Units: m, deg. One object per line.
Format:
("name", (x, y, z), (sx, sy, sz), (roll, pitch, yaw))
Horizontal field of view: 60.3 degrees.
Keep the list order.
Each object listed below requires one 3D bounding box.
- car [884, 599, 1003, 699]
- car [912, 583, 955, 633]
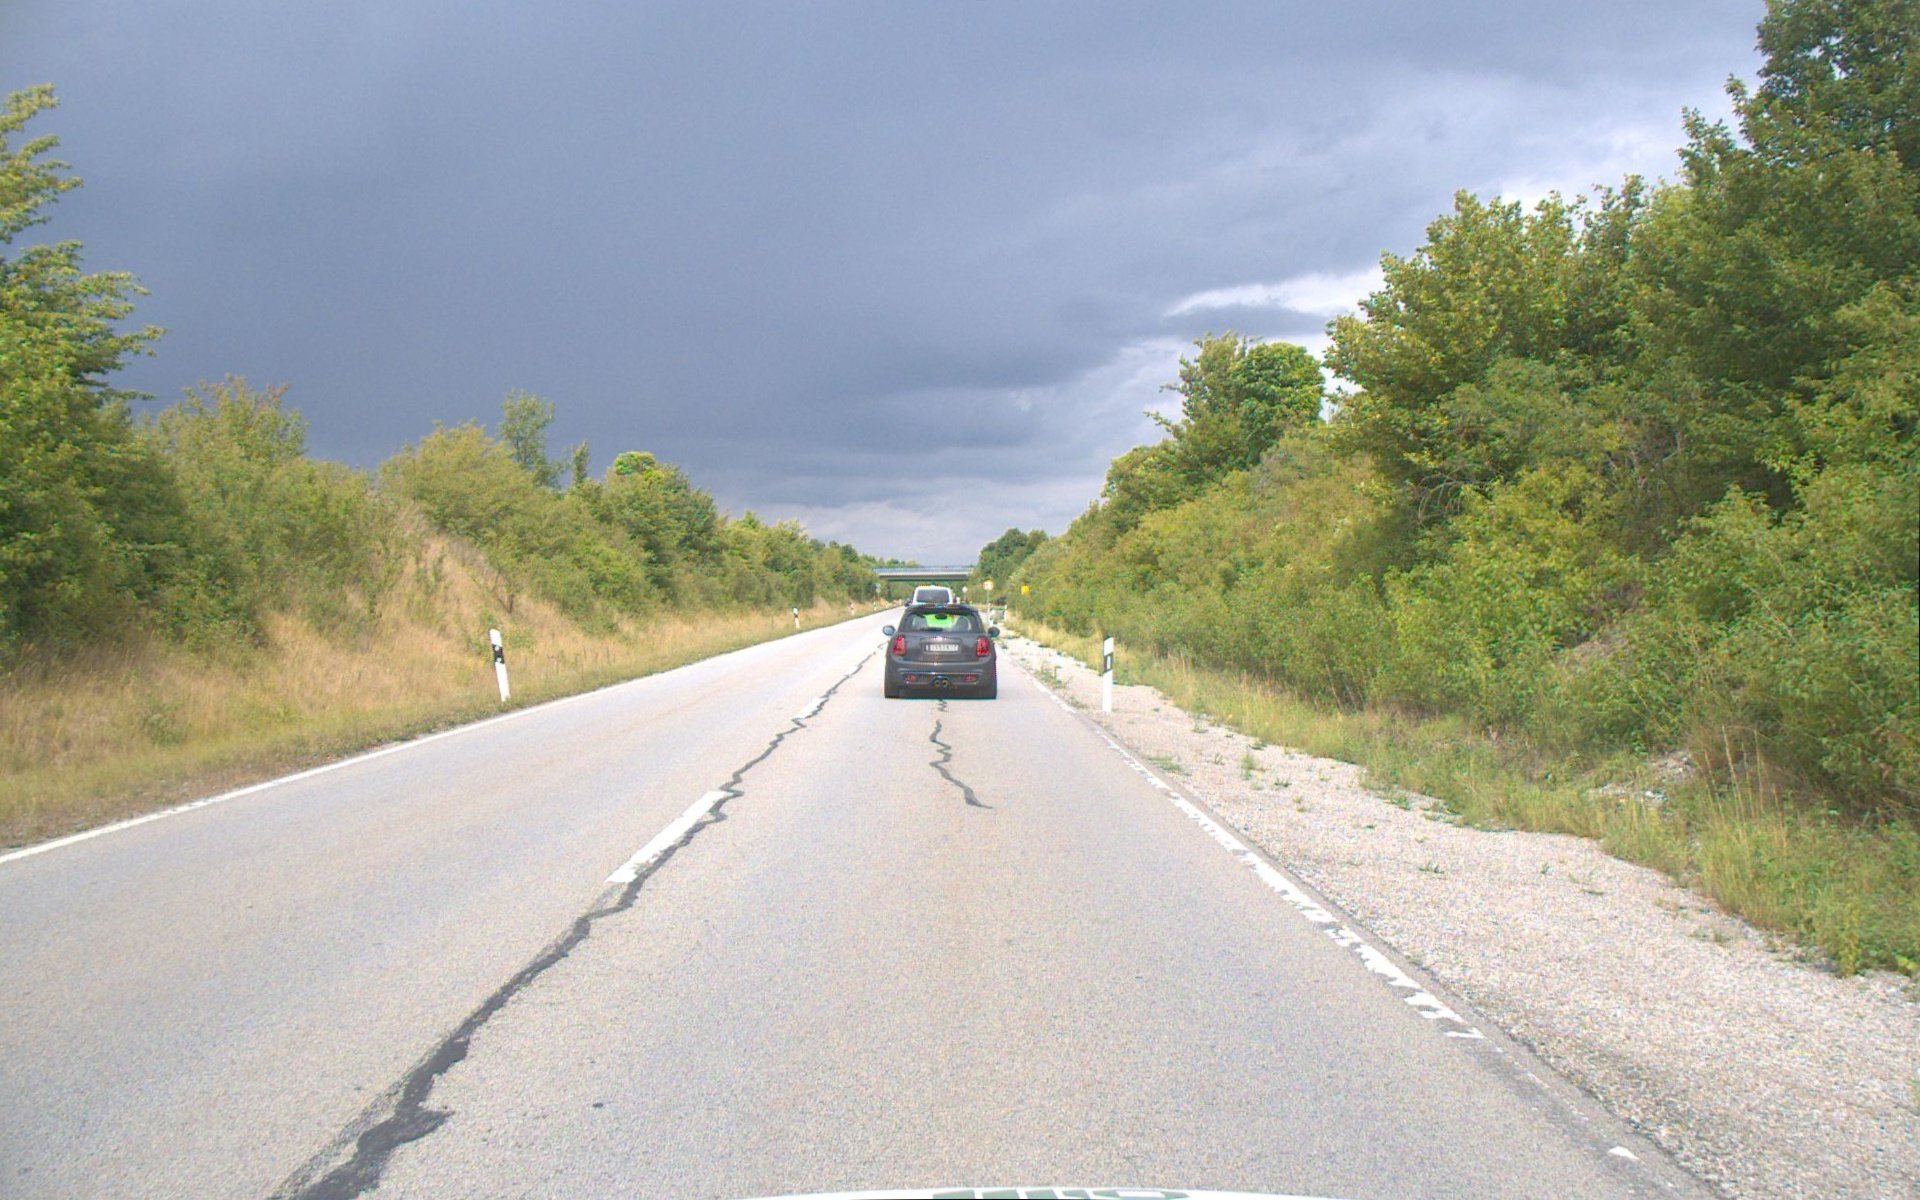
("car", (-0.282, 0.720, 26.309), (1.721, 1.452, 3.999), (1, 0, -1))
("car", (-1.136, 0.338, 70.970), (1.782, 2.090, 3.999), (1, 0, -1))
